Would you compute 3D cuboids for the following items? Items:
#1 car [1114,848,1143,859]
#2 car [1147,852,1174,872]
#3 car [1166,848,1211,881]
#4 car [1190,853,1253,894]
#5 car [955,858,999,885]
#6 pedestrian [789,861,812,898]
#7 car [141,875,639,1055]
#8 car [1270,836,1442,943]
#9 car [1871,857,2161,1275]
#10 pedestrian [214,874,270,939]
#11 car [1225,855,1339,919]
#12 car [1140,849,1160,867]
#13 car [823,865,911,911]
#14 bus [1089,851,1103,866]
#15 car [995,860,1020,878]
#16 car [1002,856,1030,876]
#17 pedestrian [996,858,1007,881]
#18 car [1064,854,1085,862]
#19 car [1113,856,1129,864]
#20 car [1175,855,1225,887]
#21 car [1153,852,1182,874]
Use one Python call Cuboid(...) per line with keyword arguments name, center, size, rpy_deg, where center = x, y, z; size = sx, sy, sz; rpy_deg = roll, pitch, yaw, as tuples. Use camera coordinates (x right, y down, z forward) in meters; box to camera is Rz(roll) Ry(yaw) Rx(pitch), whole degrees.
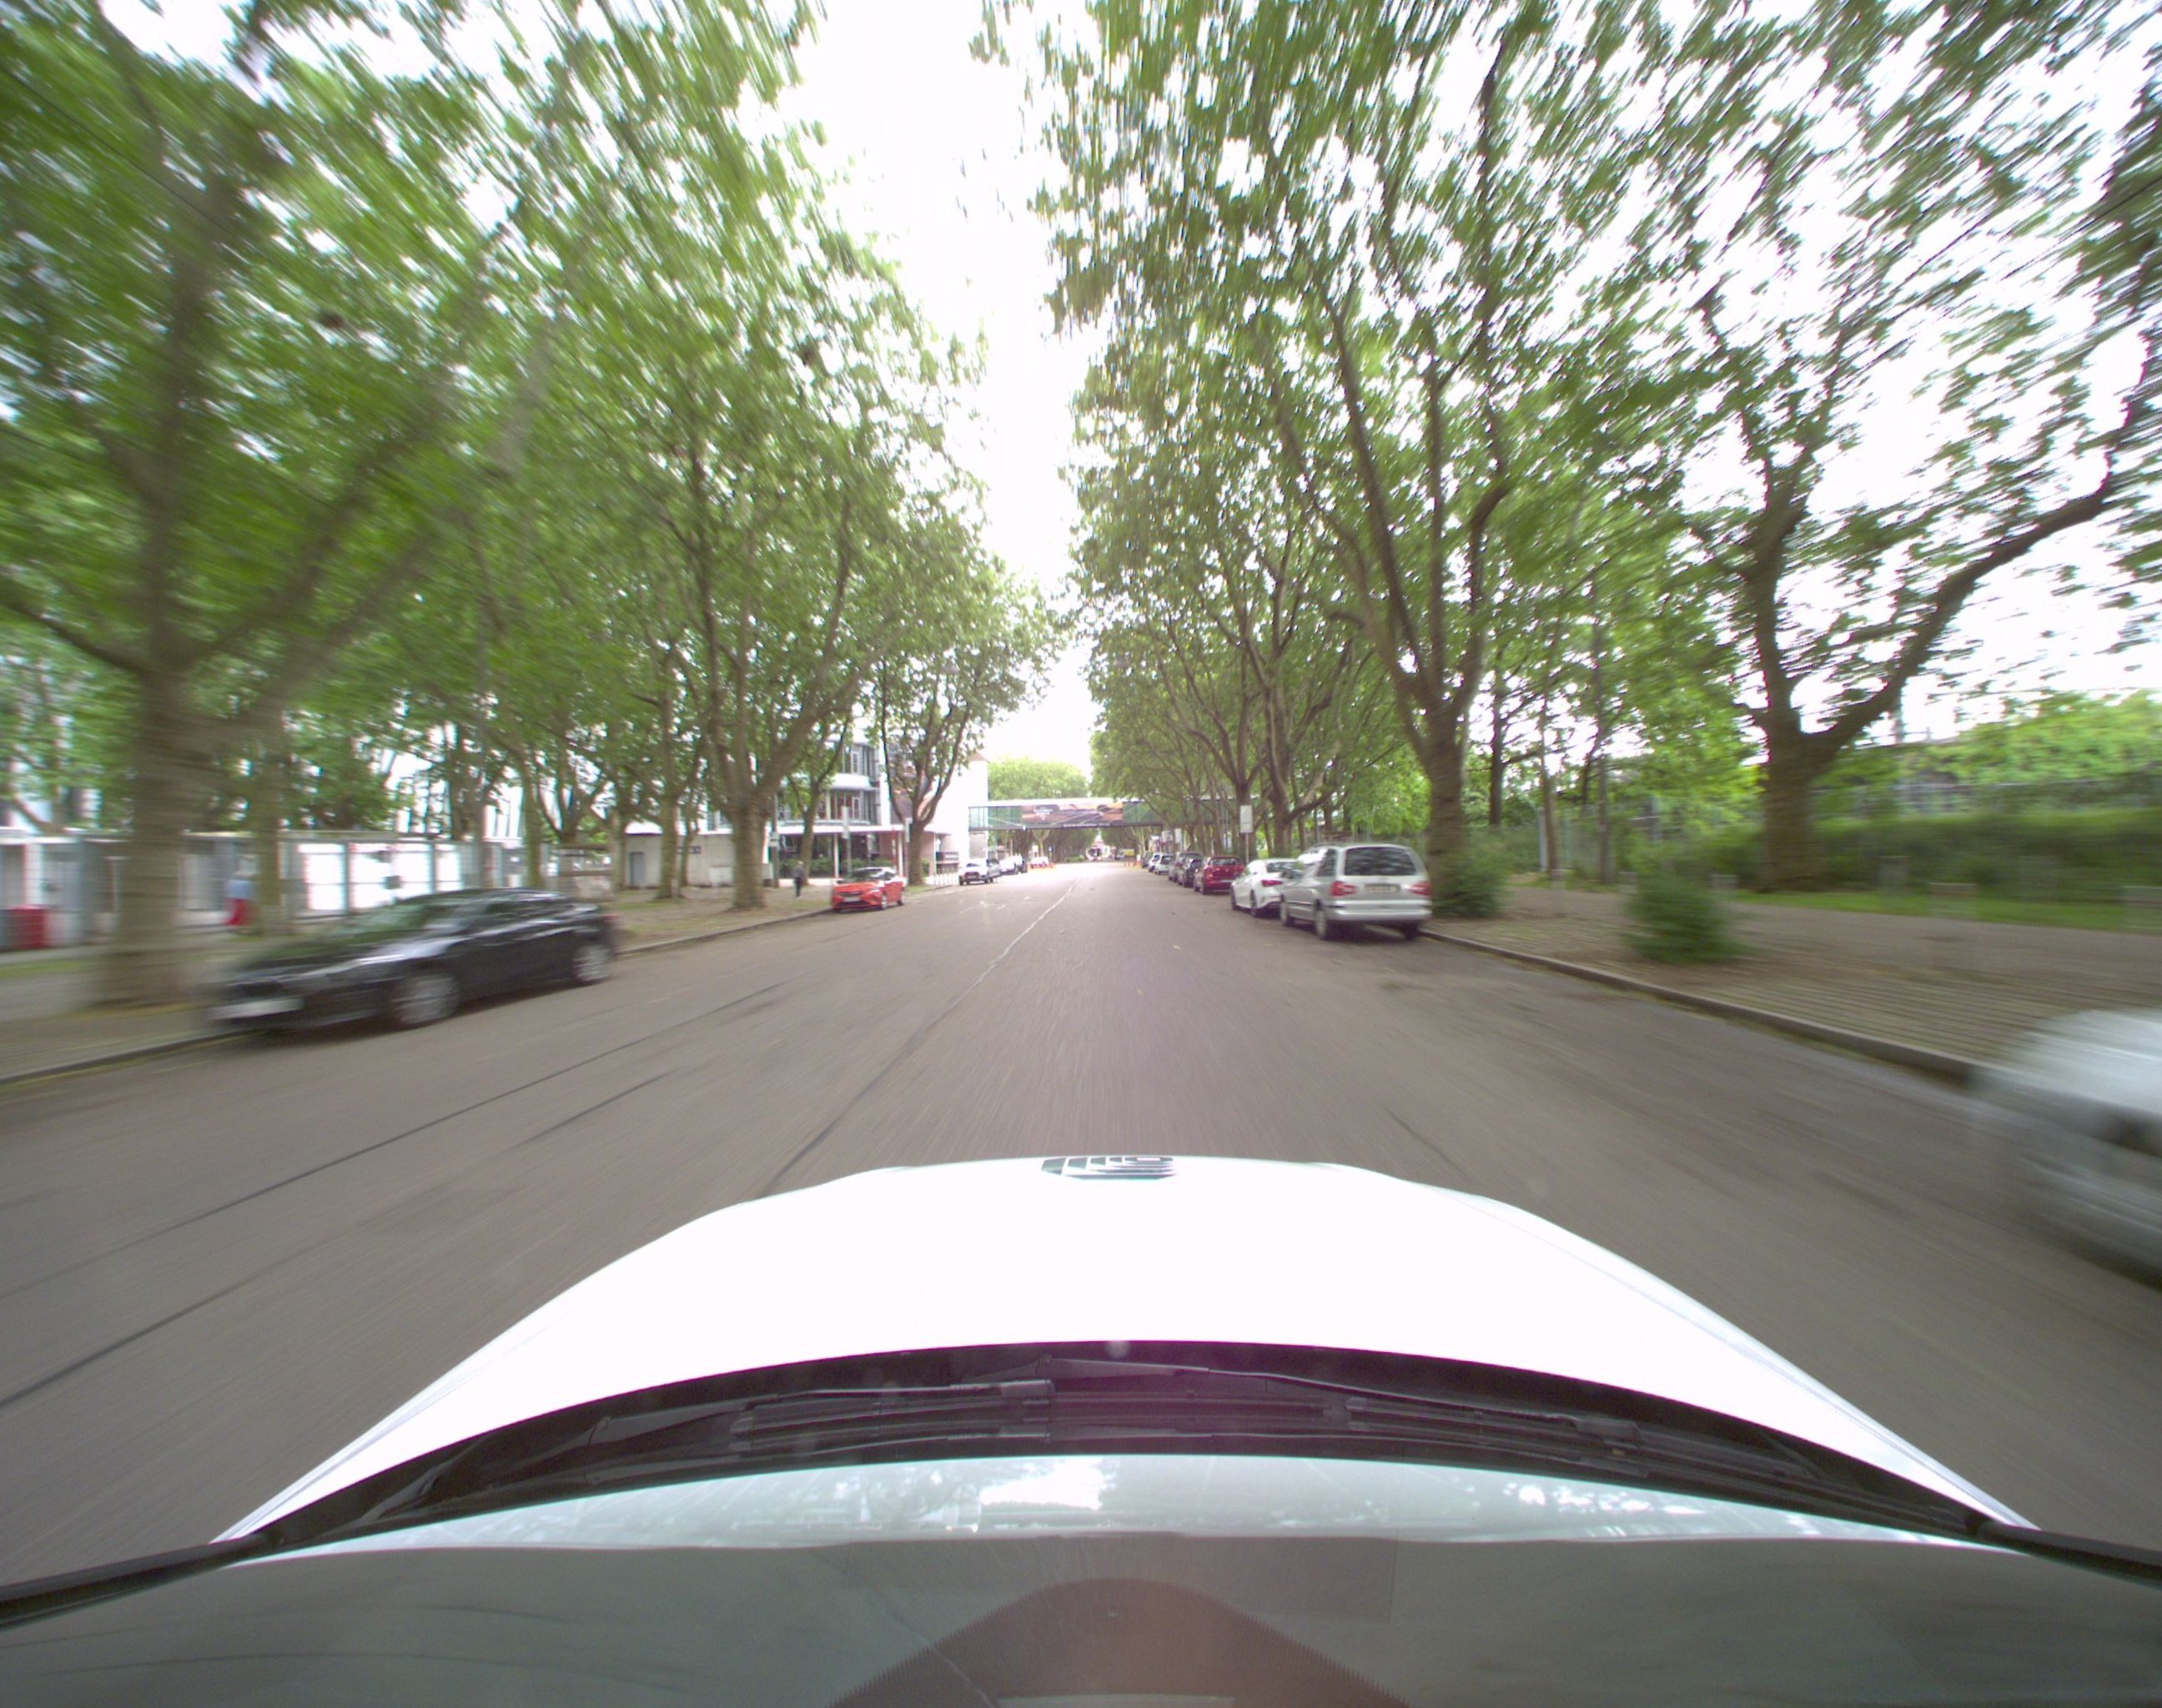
Cuboid(name="car", center=(11.369, -0.126, 195.207), size=(6.802, 2.513, 2.316), rpy_deg=(-2, 0, -1))
Cuboid(name="car", center=(6.665, 0.668, 68.542), size=(1.907, 1.618, 4.751), rpy_deg=(-2, 0, 2))
Cuboid(name="car", center=(5.992, 0.579, 45.986), size=(1.975, 1.680, 4.732), rpy_deg=(-2, 0, 1))
Cuboid(name="car", center=(5.498, 0.744, 32.415), size=(1.850, 1.481, 4.178), rpy_deg=(-1, 0, 1))
Cuboid(name="car", center=(-6.613, 1.062, 52.283), size=(2.065, 1.563, 4.758), rpy_deg=(-2, 0, 2))
Cuboid(name="pedestrian", center=(-12.606, 1.142, 36.602), size=(0.588, 1.620, 0.794), rpy_deg=(-1, 0, 11))
Cuboid(name="car", center=(-7.699, 1.098, 9.884), size=(1.819, 1.465, 4.632), rpy_deg=(-3, 0, 4))
Cuboid(name="car", center=(5.110, 0.588, 15.838), size=(1.896, 1.738, 4.508), rpy_deg=(-1, 0, 2))
Cuboid(name="car", center=(4.537, 0.730, 1.899), size=(1.701, 1.427, 3.890), rpy_deg=(0, 0, 2))
Cuboid(name="pedestrian", center=(-20.720, 1.287, 20.111), size=(0.665, 1.544, 0.660), rpy_deg=(-1, 0, 2))
Cuboid(name="car", center=(5.053, 0.764, 21.148), size=(1.870, 1.427, 4.586), rpy_deg=(-2, 0, 1))
Cuboid(name="car", center=(7.142, 0.420, 84.875), size=(1.840, 1.783, 5.213), rpy_deg=(0, 0, 2))
Cuboid(name="car", center=(-7.257, 1.116, 28.009), size=(1.801, 1.354, 4.002), rpy_deg=(-2, 0, 2))
Cuboid(name="bus", center=(3.434, 0.982, 190.912), size=(3.028, 3.160, 12.678), rpy_deg=(-4, 0, 1))
Cuboid(name="car", center=(-6.727, 1.343, 75.189), size=(1.698, 1.419, 4.327), rpy_deg=(-4, 0, 2))
Cuboid(name="car", center=(-6.430, 1.135, 80.800), size=(2.027, 1.789, 4.910), rpy_deg=(-5, 0, 2))
Cuboid(name="pedestrian", center=(-5.226, 1.030, 53.532), size=(0.581, 1.466, 0.568), rpy_deg=(-1, 0, 5))
Cuboid(name="car", center=(-1.530, 0.919, 185.353), size=(4.681, 1.584, 1.865), rpy_deg=(-2, -1, 2))
Cuboid(name="car", center=(9.958, 1.433, 202.678), size=(3.973, 1.794, 1.543), rpy_deg=(-2, -1, 0))
Cuboid(name="car", center=(5.647, 0.767, 39.088), size=(1.870, 1.427, 4.482), rpy_deg=(-2, 0, 2))
Cuboid(name="car", center=(6.418, 0.655, 60.674), size=(1.801, 1.526, 4.097), rpy_deg=(-2, 0, 2))
